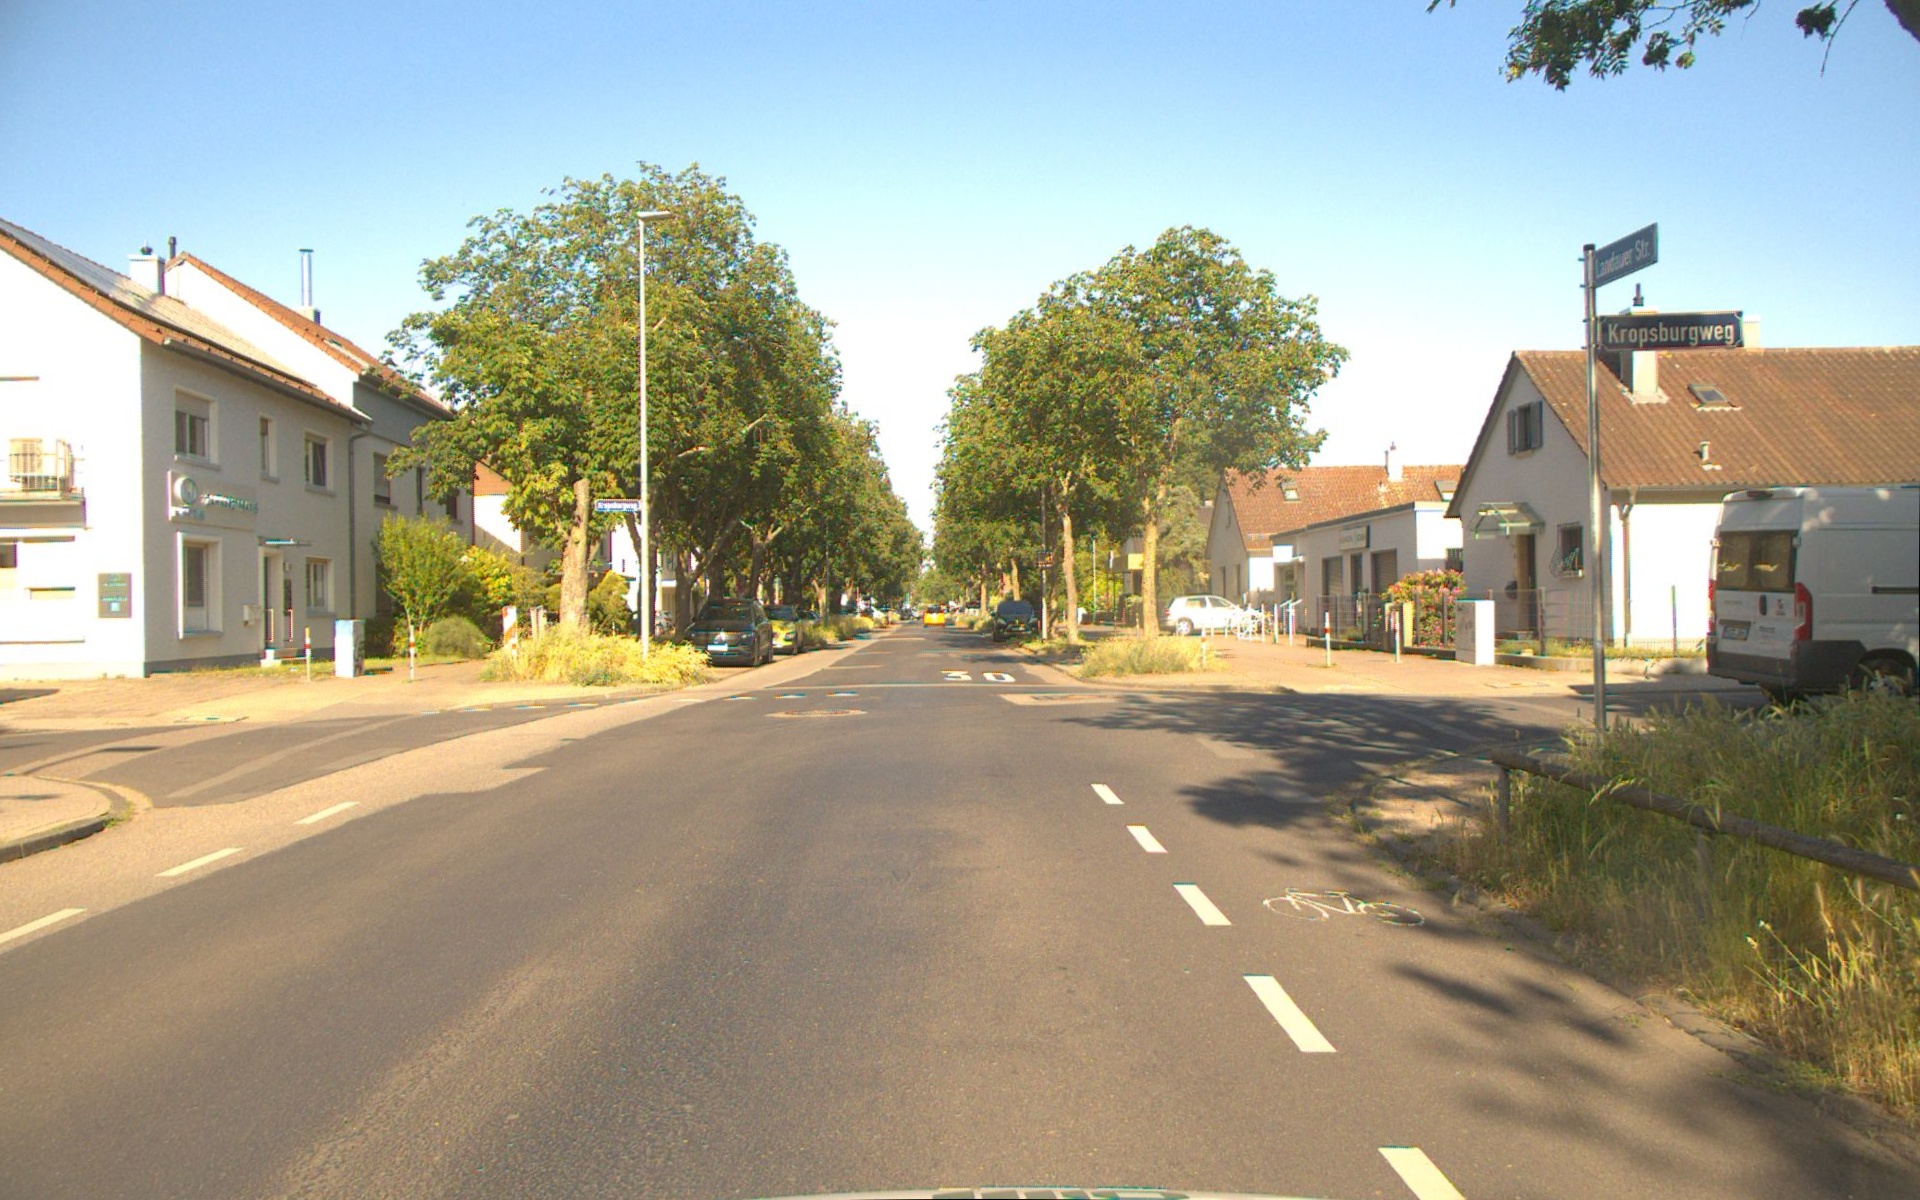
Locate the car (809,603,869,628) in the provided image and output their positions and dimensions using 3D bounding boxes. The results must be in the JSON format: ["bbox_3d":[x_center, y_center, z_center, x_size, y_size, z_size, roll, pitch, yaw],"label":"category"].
[{"bbox_3d":[-9.048,1.140,123.679,4.458,1.796,1.998,1,1,-6],"label":"car"}]

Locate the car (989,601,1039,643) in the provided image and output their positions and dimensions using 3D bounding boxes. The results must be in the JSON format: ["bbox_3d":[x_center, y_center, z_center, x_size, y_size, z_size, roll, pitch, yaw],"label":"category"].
[{"bbox_3d":[2.229,0.942,69.693,1.815,1.654,4.468,-2,-1,-1],"label":"car"}]

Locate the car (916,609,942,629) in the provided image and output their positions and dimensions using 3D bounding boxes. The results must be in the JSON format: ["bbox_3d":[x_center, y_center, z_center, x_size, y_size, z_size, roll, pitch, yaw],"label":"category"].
[{"bbox_3d":[-2.438,1.502,130.015,1.850,1.505,3.885,1,-1,-3],"label":"car"}]

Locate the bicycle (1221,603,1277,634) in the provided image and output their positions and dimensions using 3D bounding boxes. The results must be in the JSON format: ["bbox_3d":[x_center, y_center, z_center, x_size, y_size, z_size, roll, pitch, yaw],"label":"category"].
[{"bbox_3d":[10.394,0.652,59.512,1.885,1.016,0.576,-2,1,-3],"label":"bicycle"}]

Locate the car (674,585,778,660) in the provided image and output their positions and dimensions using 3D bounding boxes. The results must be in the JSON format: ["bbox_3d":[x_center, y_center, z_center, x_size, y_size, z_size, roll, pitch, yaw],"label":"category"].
[{"bbox_3d":[-5.833,0.597,41.843,1.913,1.757,4.874,1,-1,0],"label":"car"}]

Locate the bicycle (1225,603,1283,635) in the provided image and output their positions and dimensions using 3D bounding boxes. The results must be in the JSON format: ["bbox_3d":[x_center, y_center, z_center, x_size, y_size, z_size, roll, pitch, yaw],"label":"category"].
[{"bbox_3d":[10.392,0.672,58.525,1.919,1.016,0.576,-2,1,-3],"label":"bicycle"}]

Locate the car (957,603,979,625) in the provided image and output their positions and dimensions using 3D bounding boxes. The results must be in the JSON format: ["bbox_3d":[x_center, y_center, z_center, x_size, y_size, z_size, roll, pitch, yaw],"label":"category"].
[{"bbox_3d":[0.662,1.201,142.744,1.864,1.805,4.300,1,-1,-1],"label":"car"}]

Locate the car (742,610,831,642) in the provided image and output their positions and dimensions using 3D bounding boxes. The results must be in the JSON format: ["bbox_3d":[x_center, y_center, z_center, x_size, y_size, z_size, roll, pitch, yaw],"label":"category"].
[{"bbox_3d":[-9.015,1.337,86.051,4.462,1.537,1.841,1,1,-1],"label":"car"}]

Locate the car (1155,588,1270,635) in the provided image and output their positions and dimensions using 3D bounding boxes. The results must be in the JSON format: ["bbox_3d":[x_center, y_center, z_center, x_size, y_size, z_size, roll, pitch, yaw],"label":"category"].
[{"bbox_3d":[9.354,0.426,61.518,3.907,1.514,1.901,-3,1,-2],"label":"car"}]

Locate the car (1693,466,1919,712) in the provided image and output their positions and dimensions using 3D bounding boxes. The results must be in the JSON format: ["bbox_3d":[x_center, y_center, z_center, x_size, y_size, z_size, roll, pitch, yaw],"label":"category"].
[{"bbox_3d":[11.576,-0.164,18.806,5.483,2.583,2.264,-1,0,-4],"label":"car"}]

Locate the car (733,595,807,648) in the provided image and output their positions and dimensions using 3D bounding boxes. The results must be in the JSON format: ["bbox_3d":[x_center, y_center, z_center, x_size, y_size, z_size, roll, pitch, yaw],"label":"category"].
[{"bbox_3d":[-6.124,0.714,53.754,1.899,1.637,4.383,1,-1,0],"label":"car"}]

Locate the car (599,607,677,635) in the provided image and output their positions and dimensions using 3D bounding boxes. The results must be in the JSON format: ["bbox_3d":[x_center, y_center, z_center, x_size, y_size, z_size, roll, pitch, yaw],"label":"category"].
[{"bbox_3d":[-19.900,1.284,102.356,4.465,1.646,1.998,1,1,-5],"label":"car"}]

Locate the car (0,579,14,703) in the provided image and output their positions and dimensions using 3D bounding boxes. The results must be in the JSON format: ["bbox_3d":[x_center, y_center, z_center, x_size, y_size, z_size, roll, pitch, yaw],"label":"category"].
[{"bbox_3d":[-16.723,0.708,24.278,4.400,1.869,1.999,-1,3,-4],"label":"car"}]

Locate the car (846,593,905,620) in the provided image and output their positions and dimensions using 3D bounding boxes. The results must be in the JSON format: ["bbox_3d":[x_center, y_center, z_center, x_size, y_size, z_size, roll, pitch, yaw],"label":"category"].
[{"bbox_3d":[-7.748,0.595,151.648,5.388,2.287,2.516,1,1,-3],"label":"car"}]

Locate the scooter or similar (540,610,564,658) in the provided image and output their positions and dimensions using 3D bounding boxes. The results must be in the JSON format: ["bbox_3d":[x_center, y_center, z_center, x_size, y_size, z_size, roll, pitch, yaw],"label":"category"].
[{"bbox_3d":[-8.824,0.729,35.792,0.328,1.018,0.996,-1,0,-5],"label":"scooter or similar"}]
